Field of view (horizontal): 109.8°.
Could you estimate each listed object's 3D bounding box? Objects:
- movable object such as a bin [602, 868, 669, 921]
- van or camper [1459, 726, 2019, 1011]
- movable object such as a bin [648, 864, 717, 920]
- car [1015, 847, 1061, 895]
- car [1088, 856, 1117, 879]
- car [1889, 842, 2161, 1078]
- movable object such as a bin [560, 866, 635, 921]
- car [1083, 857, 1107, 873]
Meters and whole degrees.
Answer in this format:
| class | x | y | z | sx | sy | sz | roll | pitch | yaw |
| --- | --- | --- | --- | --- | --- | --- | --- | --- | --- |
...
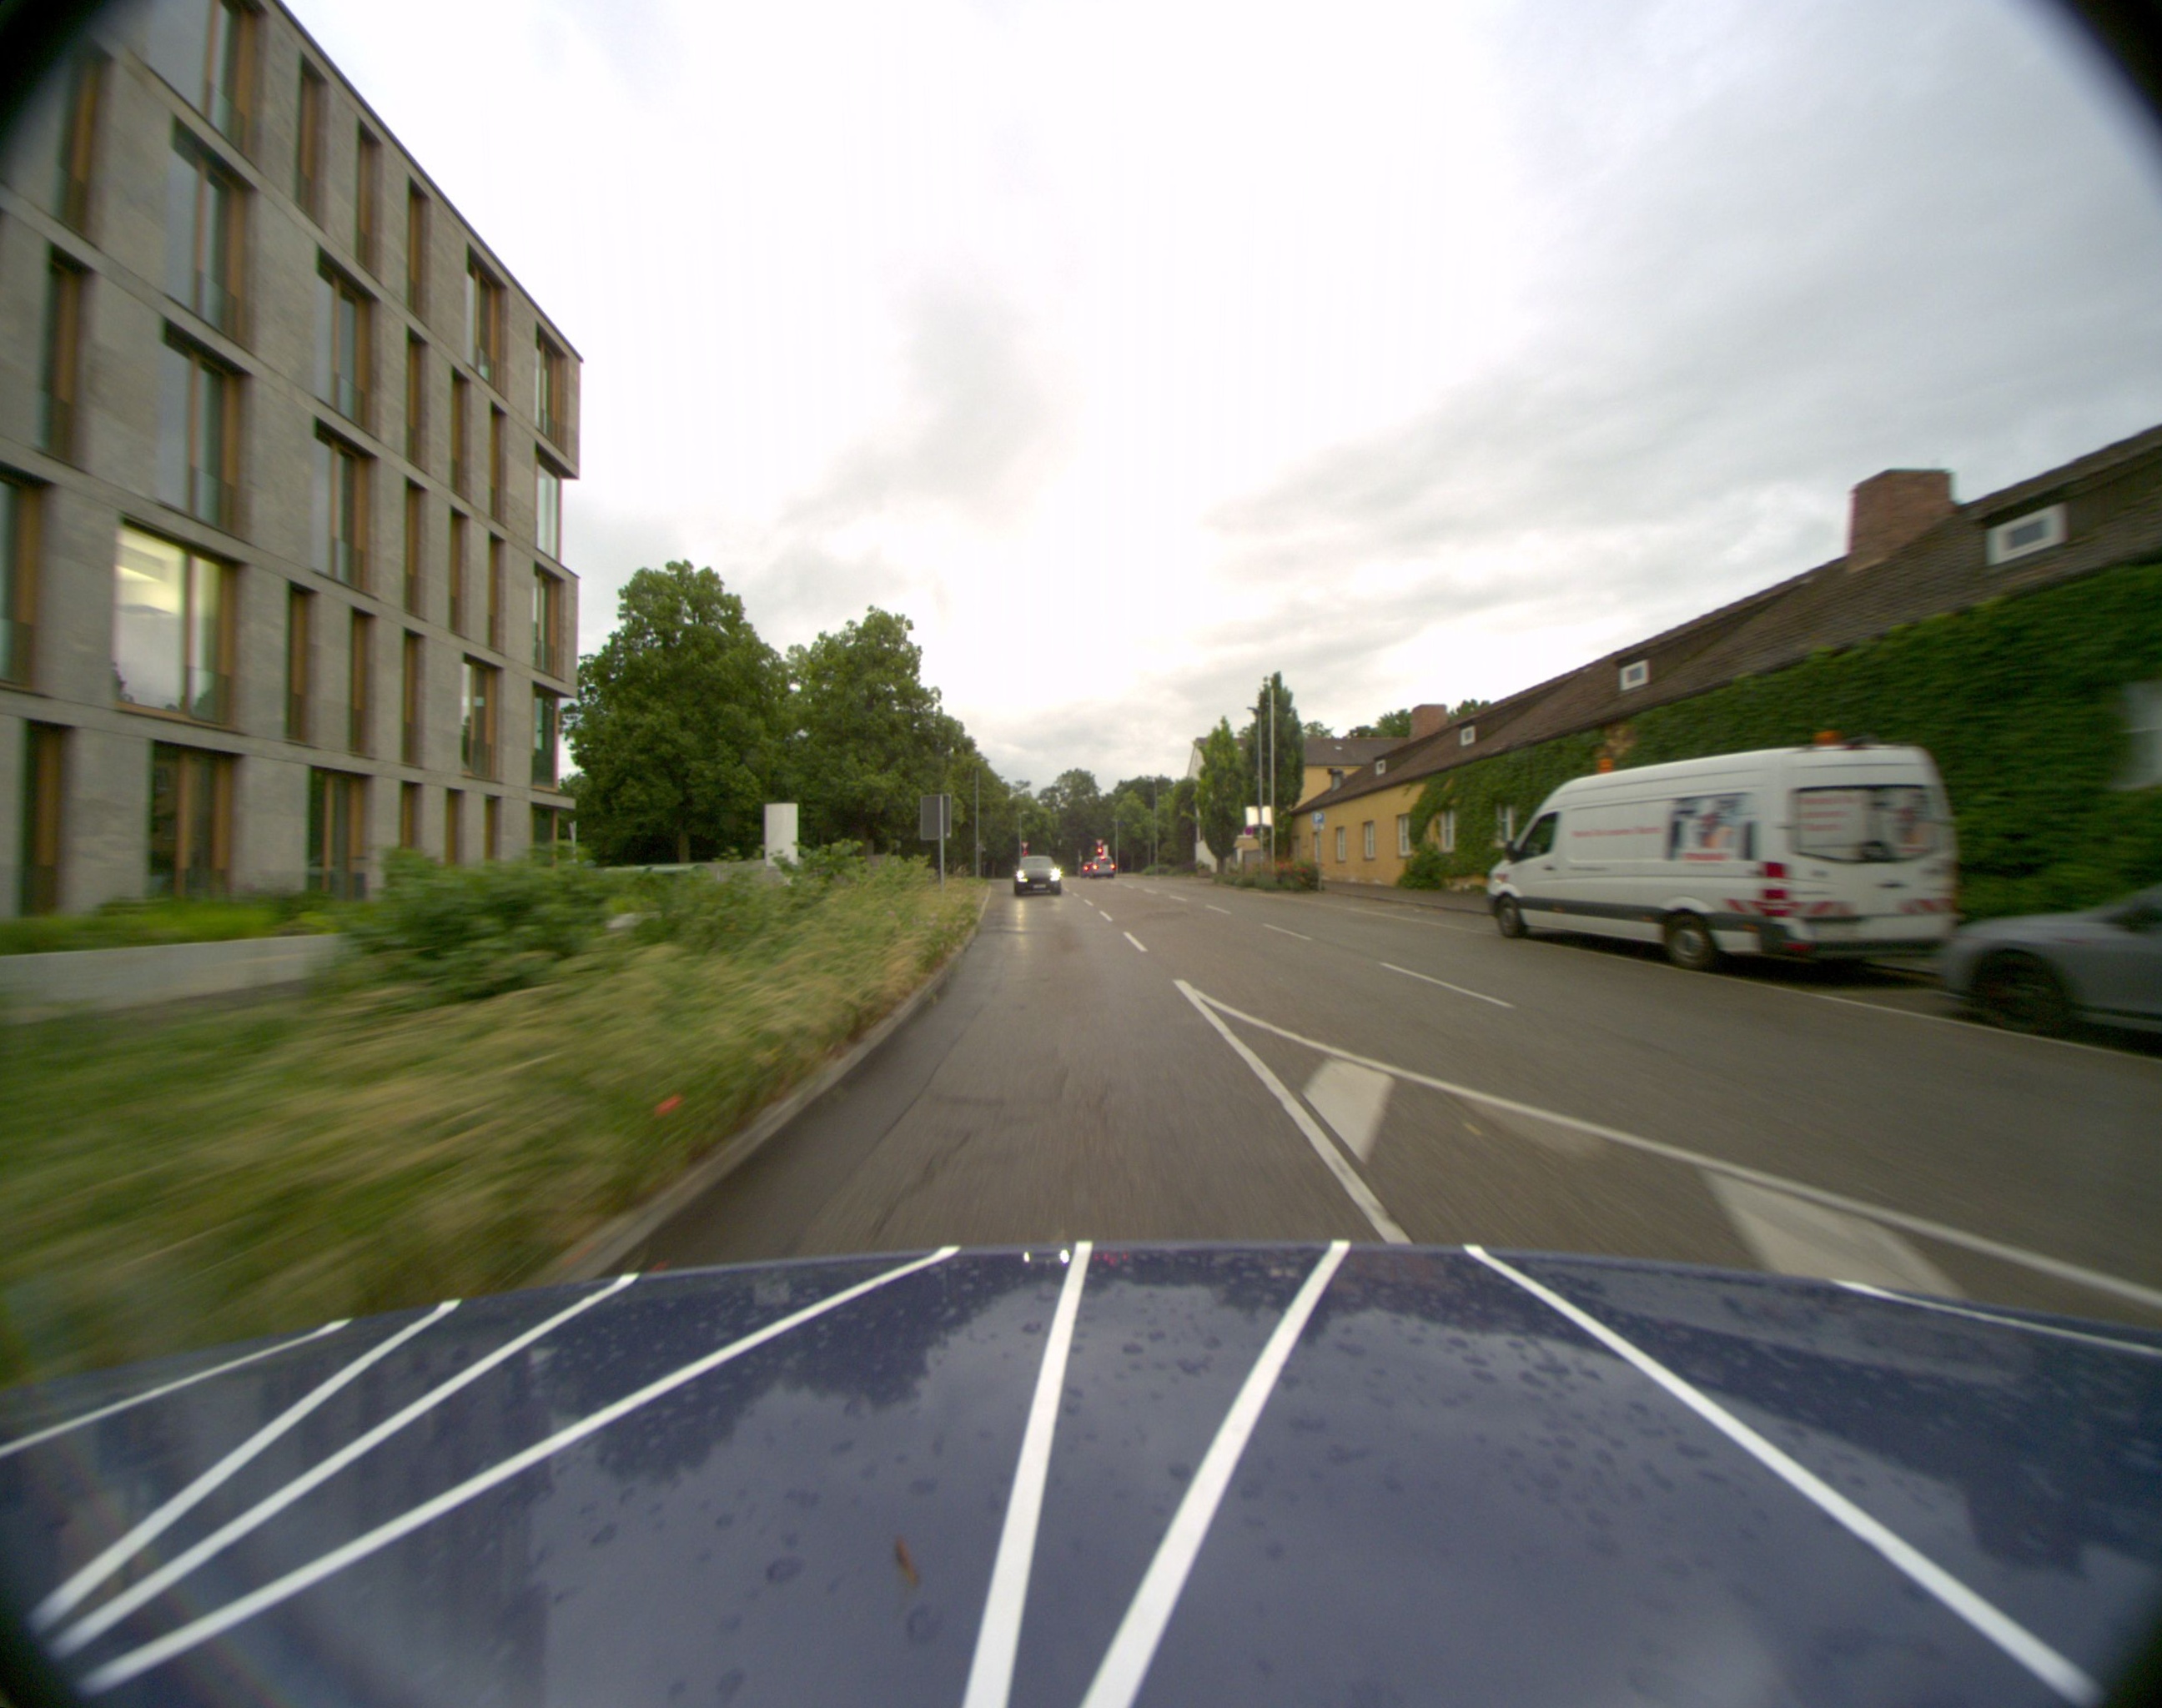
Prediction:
| class | x | y | z | sx | sy | sz | roll | pitch | yaw |
| --- | --- | --- | --- | --- | --- | --- | --- | --- | --- |
| movable object such as a bin | -12.835 | 1.154 | 21.931 | 1.100 | 1.391 | 1.150 | -5 | 1 | 5 |
| van or camper | 8.088 | 0.154 | 10.627 | 2.346 | 2.748 | 6.141 | -2 | 0 | -1 |
| movable object such as a bin | -11.521 | 1.083 | 21.992 | 1.249 | 1.449 | 1.111 | -5 | 1 | 6 |
| car | -1.929 | 0.691 | 33.765 | 1.848 | 1.961 | 4.342 | -2 | 1 | -4 |
| car | 1.764 | 1.086 | 63.525 | 1.900 | 1.695 | 4.507 | -2 | 0 | -4 |
| car | 8.122 | 0.698 | 4.492 | 1.998 | 1.504 | 4.422 | -2 | 0 | 0 |
| movable object such as a bin | -14.103 | 1.122 | 22.195 | 1.198 | 1.495 | 1.388 | -2 | 1 | 4 |
| car | 1.378 | 1.085 | 74.901 | 1.888 | 1.449 | 4.467 | -2 | 0 | -4 |
